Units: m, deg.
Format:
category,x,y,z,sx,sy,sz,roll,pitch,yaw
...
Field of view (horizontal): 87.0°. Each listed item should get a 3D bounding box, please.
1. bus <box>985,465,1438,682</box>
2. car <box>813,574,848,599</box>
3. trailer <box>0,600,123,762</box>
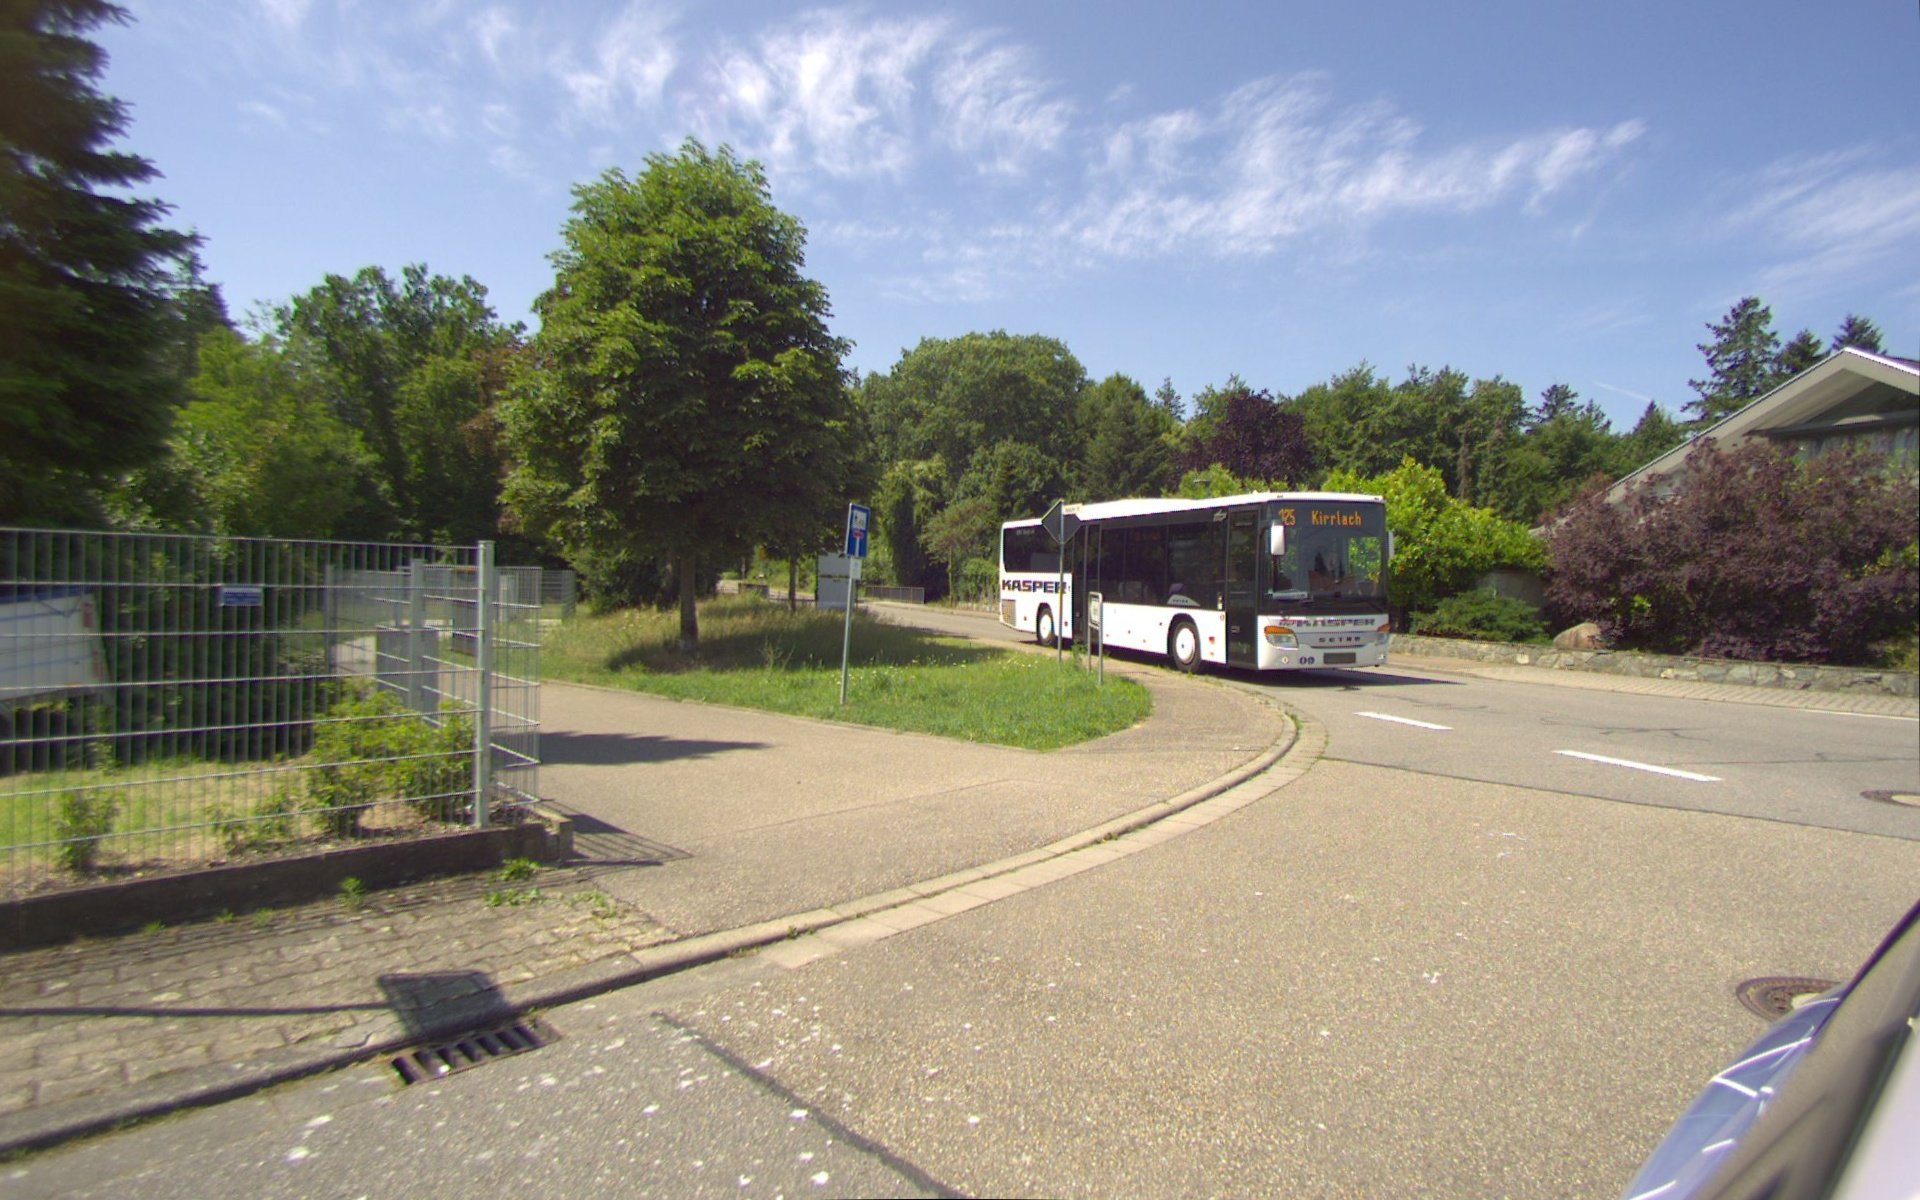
category,x,y,z,sx,sy,sz,roll,pitch,yaw
bus,4.184,-0.503,21.856,3.124,3.285,12.740,1,1,-18
car,-9.198,-0.914,71.484,1.731,1.638,4.008,2,0,-17
trailer,-7.364,0.566,7.047,1.101,1.097,2.191,2,1,38
